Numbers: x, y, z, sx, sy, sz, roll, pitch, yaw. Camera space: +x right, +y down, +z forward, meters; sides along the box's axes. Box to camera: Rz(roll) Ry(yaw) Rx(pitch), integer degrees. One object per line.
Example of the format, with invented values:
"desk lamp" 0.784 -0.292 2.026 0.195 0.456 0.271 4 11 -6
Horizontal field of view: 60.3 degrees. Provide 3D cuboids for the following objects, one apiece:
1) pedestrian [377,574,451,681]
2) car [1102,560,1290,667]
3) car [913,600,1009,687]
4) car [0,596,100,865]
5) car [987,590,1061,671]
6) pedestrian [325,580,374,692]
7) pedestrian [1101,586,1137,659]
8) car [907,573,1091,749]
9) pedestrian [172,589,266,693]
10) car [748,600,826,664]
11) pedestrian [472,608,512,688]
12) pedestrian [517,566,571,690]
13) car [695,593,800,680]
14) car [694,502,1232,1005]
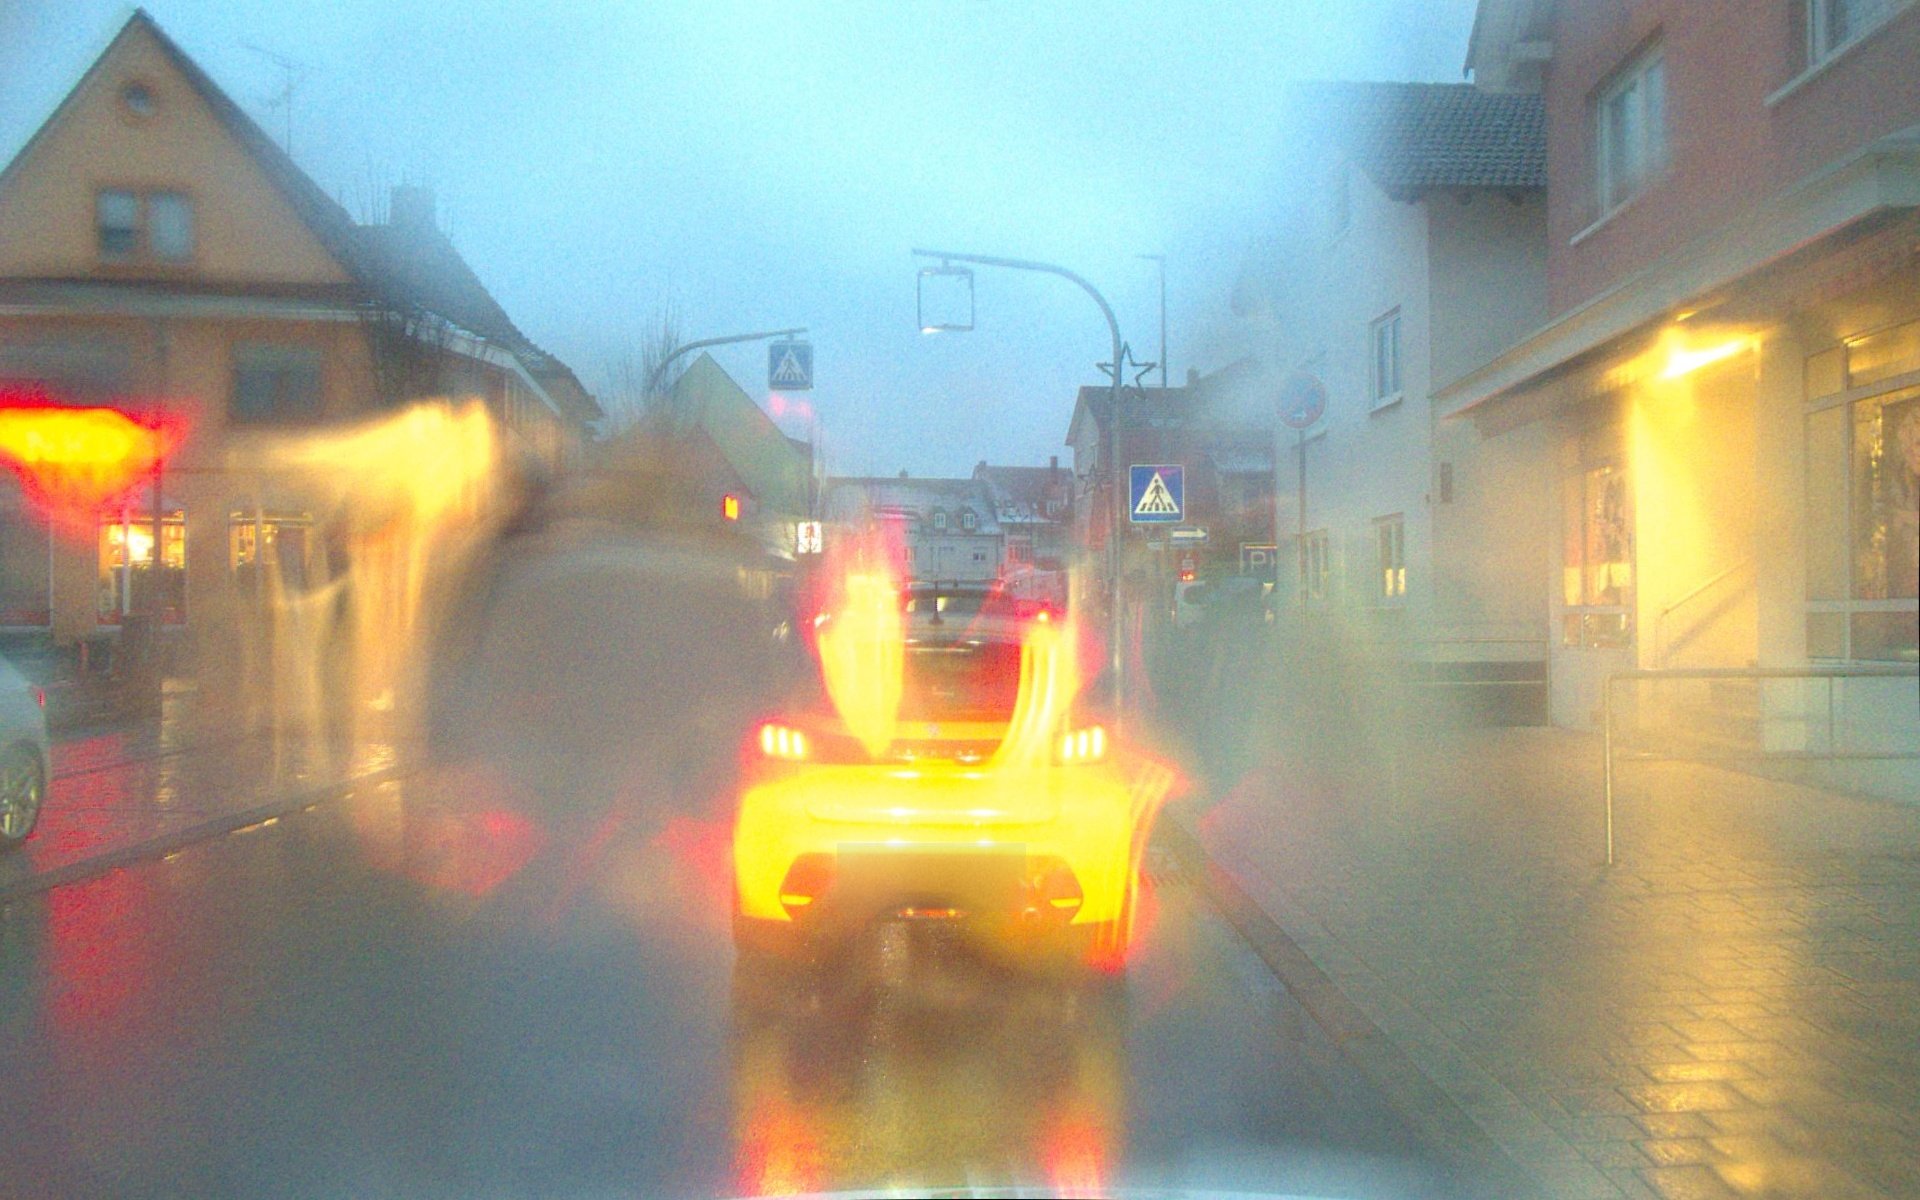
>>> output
"pedestrian" -9.290 0.452 28.172 0.954 1.773 0.961 1 0 -4
"car" 4.738 0.273 33.558 3.620 2.049 1.690 1 -1 2
"car" 0.078 0.815 33.031 1.789 1.629 4.582 0 0 1
"car" -6.331 0.733 8.594 1.636 1.543 3.999 2 0 -1
"car" 1.707 0.777 45.124 1.609 2.049 3.998 -2 0 -3
"pedestrian" -9.858 0.574 26.708 0.576 1.773 0.683 0 0 -6
"pedestrian" 4.489 0.634 46.796 0.995 2.049 1.276 0 0 4
"car" 0.397 0.606 18.010 1.761 1.691 4.000 1 -1 1
"pedestrian" -11.043 0.605 24.678 0.872 1.442 0.776 6 -1 4
"car" -4.985 0.890 48.076 1.953 1.783 4.359 0 0 -2
"pedestrian" -7.473 0.759 26.421 0.542 1.254 0.433 0 0 -5
"pedestrian" -6.528 0.433 25.979 0.689 1.909 0.616 1 0 -6
"car" -5.205 0.855 41.074 1.952 2.049 4.362 0 0 1
"car" 0.093 0.539 8.353 1.952 1.827 4.650 0 1 2
